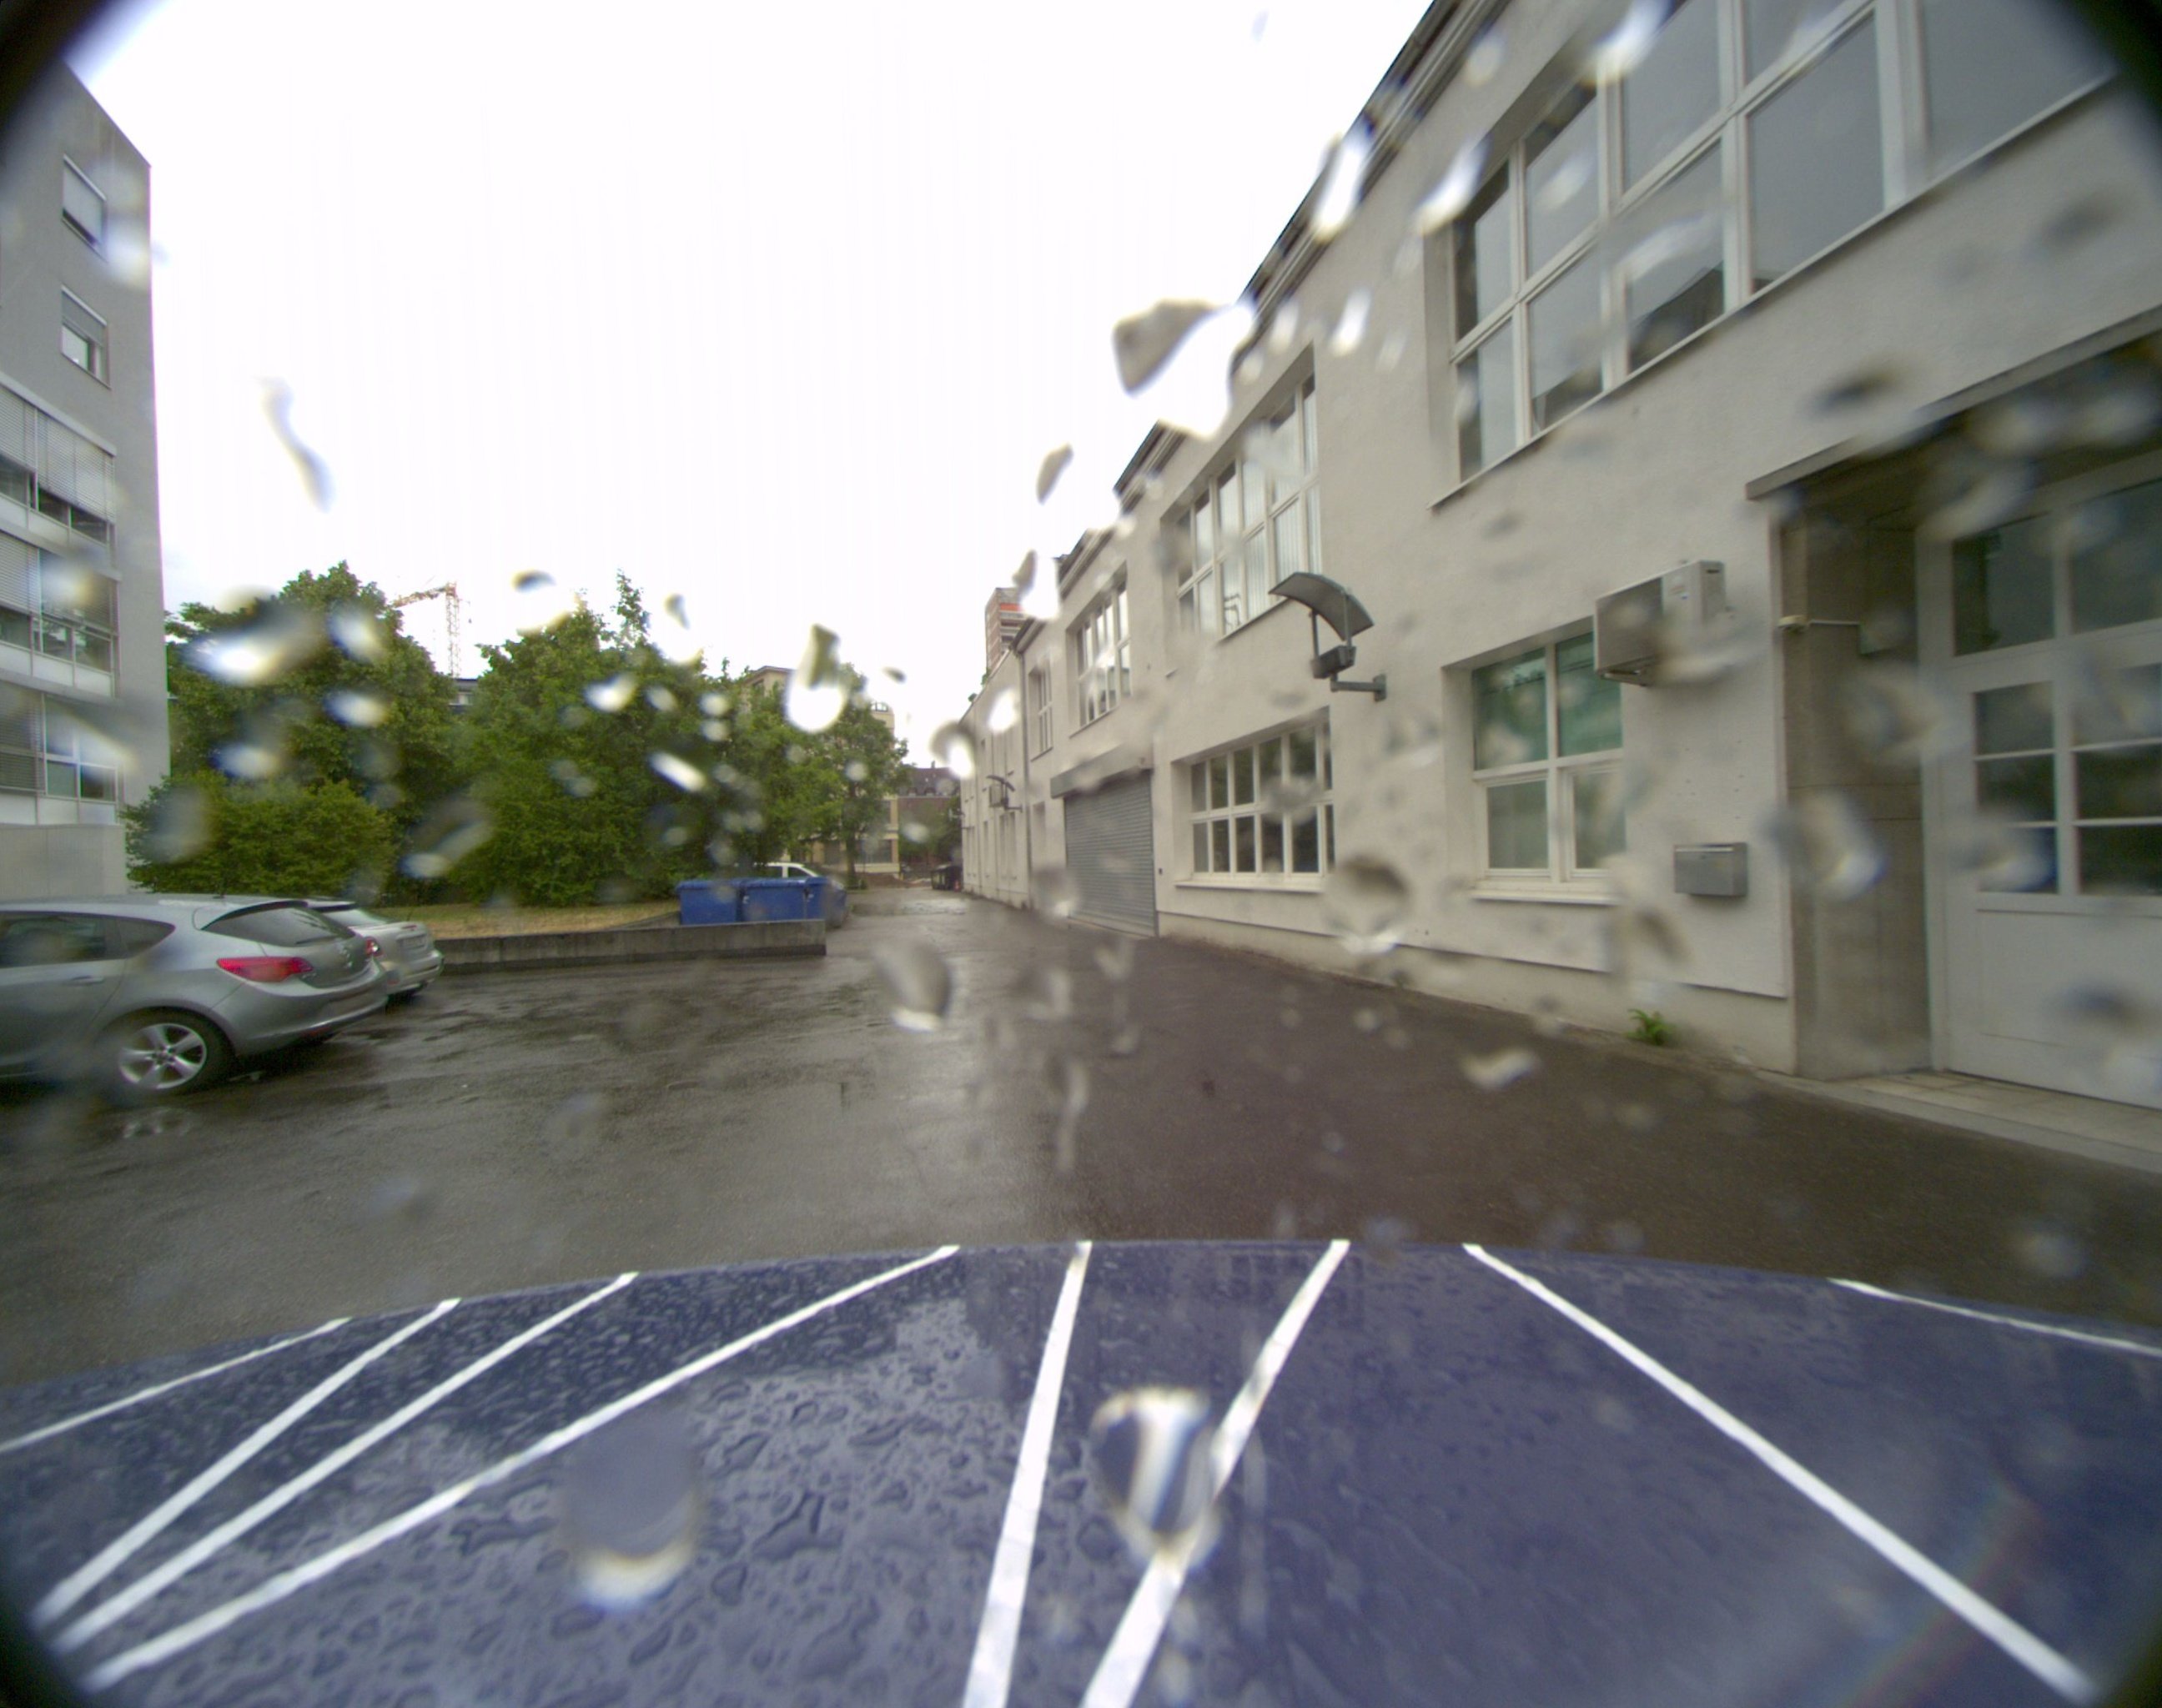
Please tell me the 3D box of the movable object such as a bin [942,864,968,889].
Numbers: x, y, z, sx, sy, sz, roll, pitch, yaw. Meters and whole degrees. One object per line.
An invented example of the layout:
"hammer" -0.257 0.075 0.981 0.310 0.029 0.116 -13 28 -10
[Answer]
"movable object such as a bin" -7.271 1.313 43.750 1.189 1.365 1.312 -3 -1 -21

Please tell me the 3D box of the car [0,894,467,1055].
"car" -9.981 1.243 8.625 4.225 1.480 1.997 0 -1 -18

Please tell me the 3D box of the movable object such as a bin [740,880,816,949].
"movable object such as a bin" -6.664 1.304 16.861 1.314 1.349 1.903 -3 -2 -16

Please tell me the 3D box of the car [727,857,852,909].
"car" -12.389 1.245 32.628 4.699 1.870 2.122 -3 -2 -14

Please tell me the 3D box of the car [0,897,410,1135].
"car" -8.326 1.211 5.871 4.225 1.481 1.997 -2 -1 -20

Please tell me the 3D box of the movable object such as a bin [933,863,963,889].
"movable object such as a bin" -7.920 1.323 45.167 1.494 1.439 1.312 -3 -1 -21

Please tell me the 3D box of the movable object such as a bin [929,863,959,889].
"movable object such as a bin" -8.382 1.358 46.432 1.494 1.439 1.312 -3 -1 -21

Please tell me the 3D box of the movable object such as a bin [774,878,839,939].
"movable object such as a bin" -6.752 1.324 18.828 1.314 1.349 1.903 -3 -2 -16

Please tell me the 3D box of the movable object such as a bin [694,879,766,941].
"movable object such as a bin" -8.459 1.325 18.412 1.234 1.349 1.968 -3 -2 -16

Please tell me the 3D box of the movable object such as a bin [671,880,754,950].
"movable object such as a bin" -7.935 1.281 16.485 1.234 1.349 1.968 -3 -2 -16
